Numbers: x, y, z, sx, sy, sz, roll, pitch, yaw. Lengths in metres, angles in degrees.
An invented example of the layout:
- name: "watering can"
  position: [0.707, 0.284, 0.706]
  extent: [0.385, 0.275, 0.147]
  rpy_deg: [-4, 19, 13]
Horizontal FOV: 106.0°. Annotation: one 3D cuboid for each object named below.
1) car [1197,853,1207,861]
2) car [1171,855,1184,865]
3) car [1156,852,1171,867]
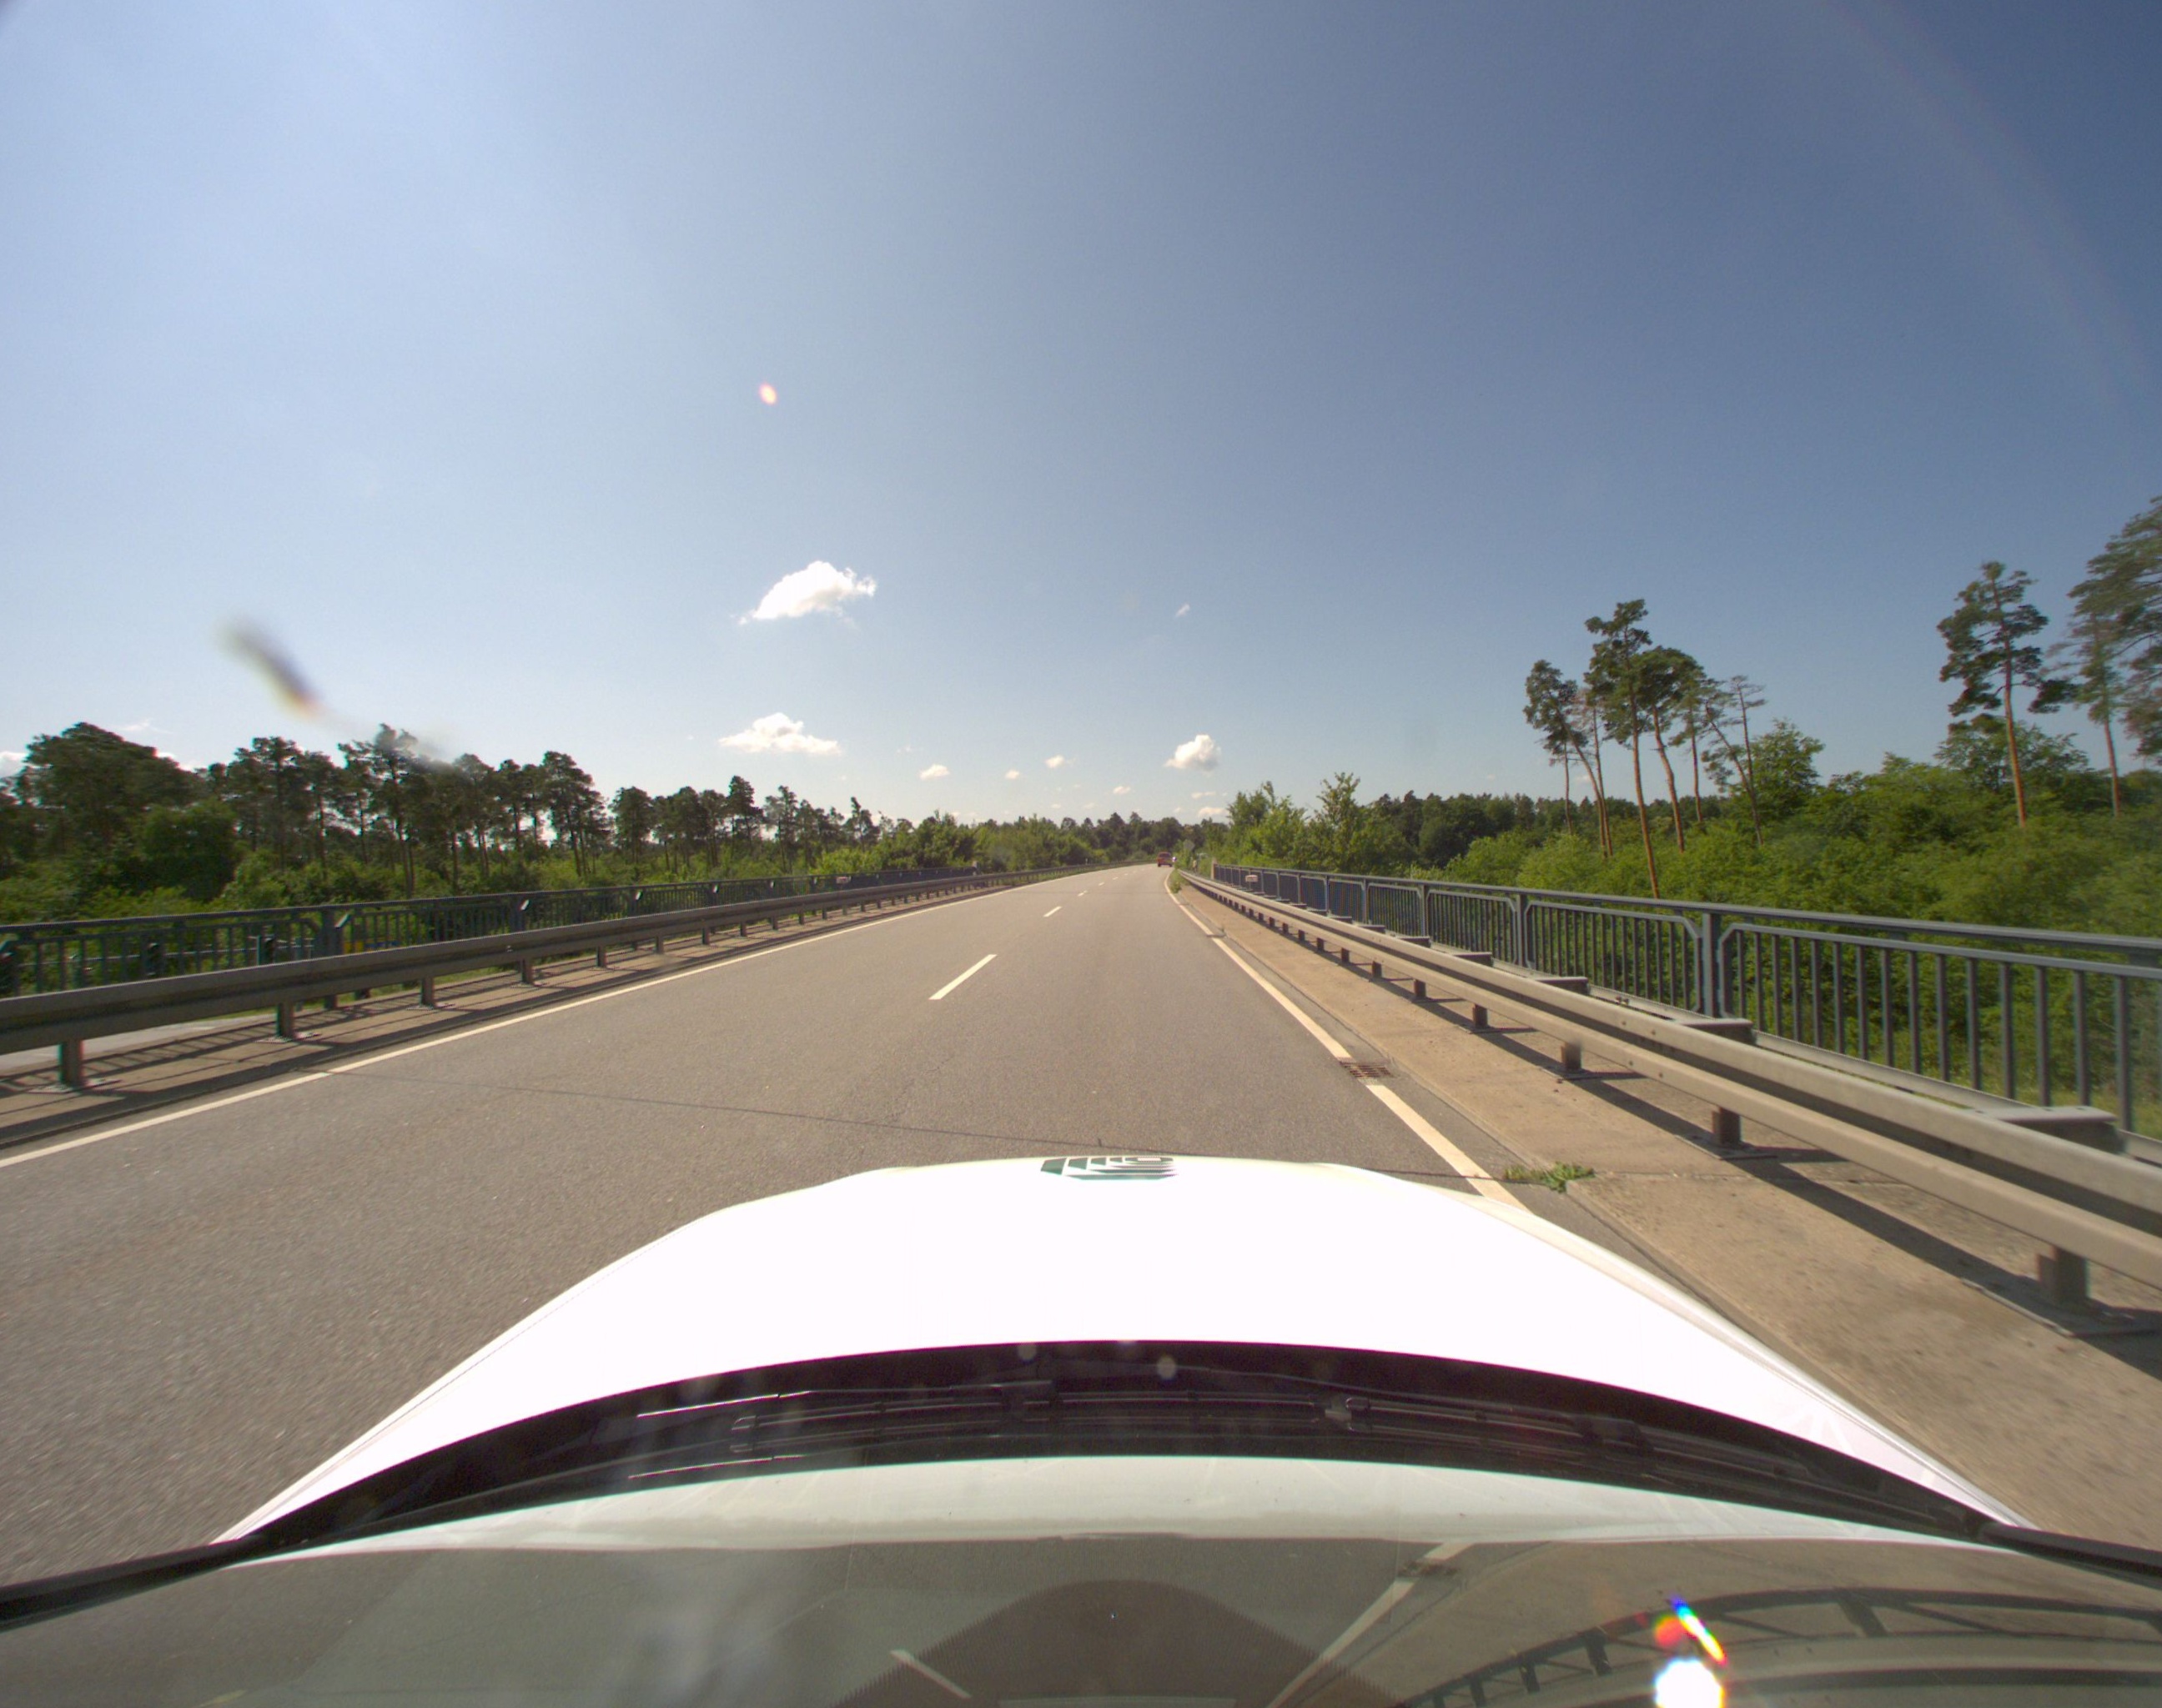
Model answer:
- name: "car"
  position: [28.871, 0.757, 194.341]
  extent: [2.173, 1.955, 5.815]
  rpy_deg: [1, 0, 7]
- name: "car"
  position: [16.108, 1.011, 135.761]
  extent: [1.998, 1.494, 4.244]
  rpy_deg: [0, -1, 5]
- name: "car"
  position: [11.495, 0.800, 113.830]
  extent: [2.068, 1.993, 5.118]
  rpy_deg: [0, -1, 4]
